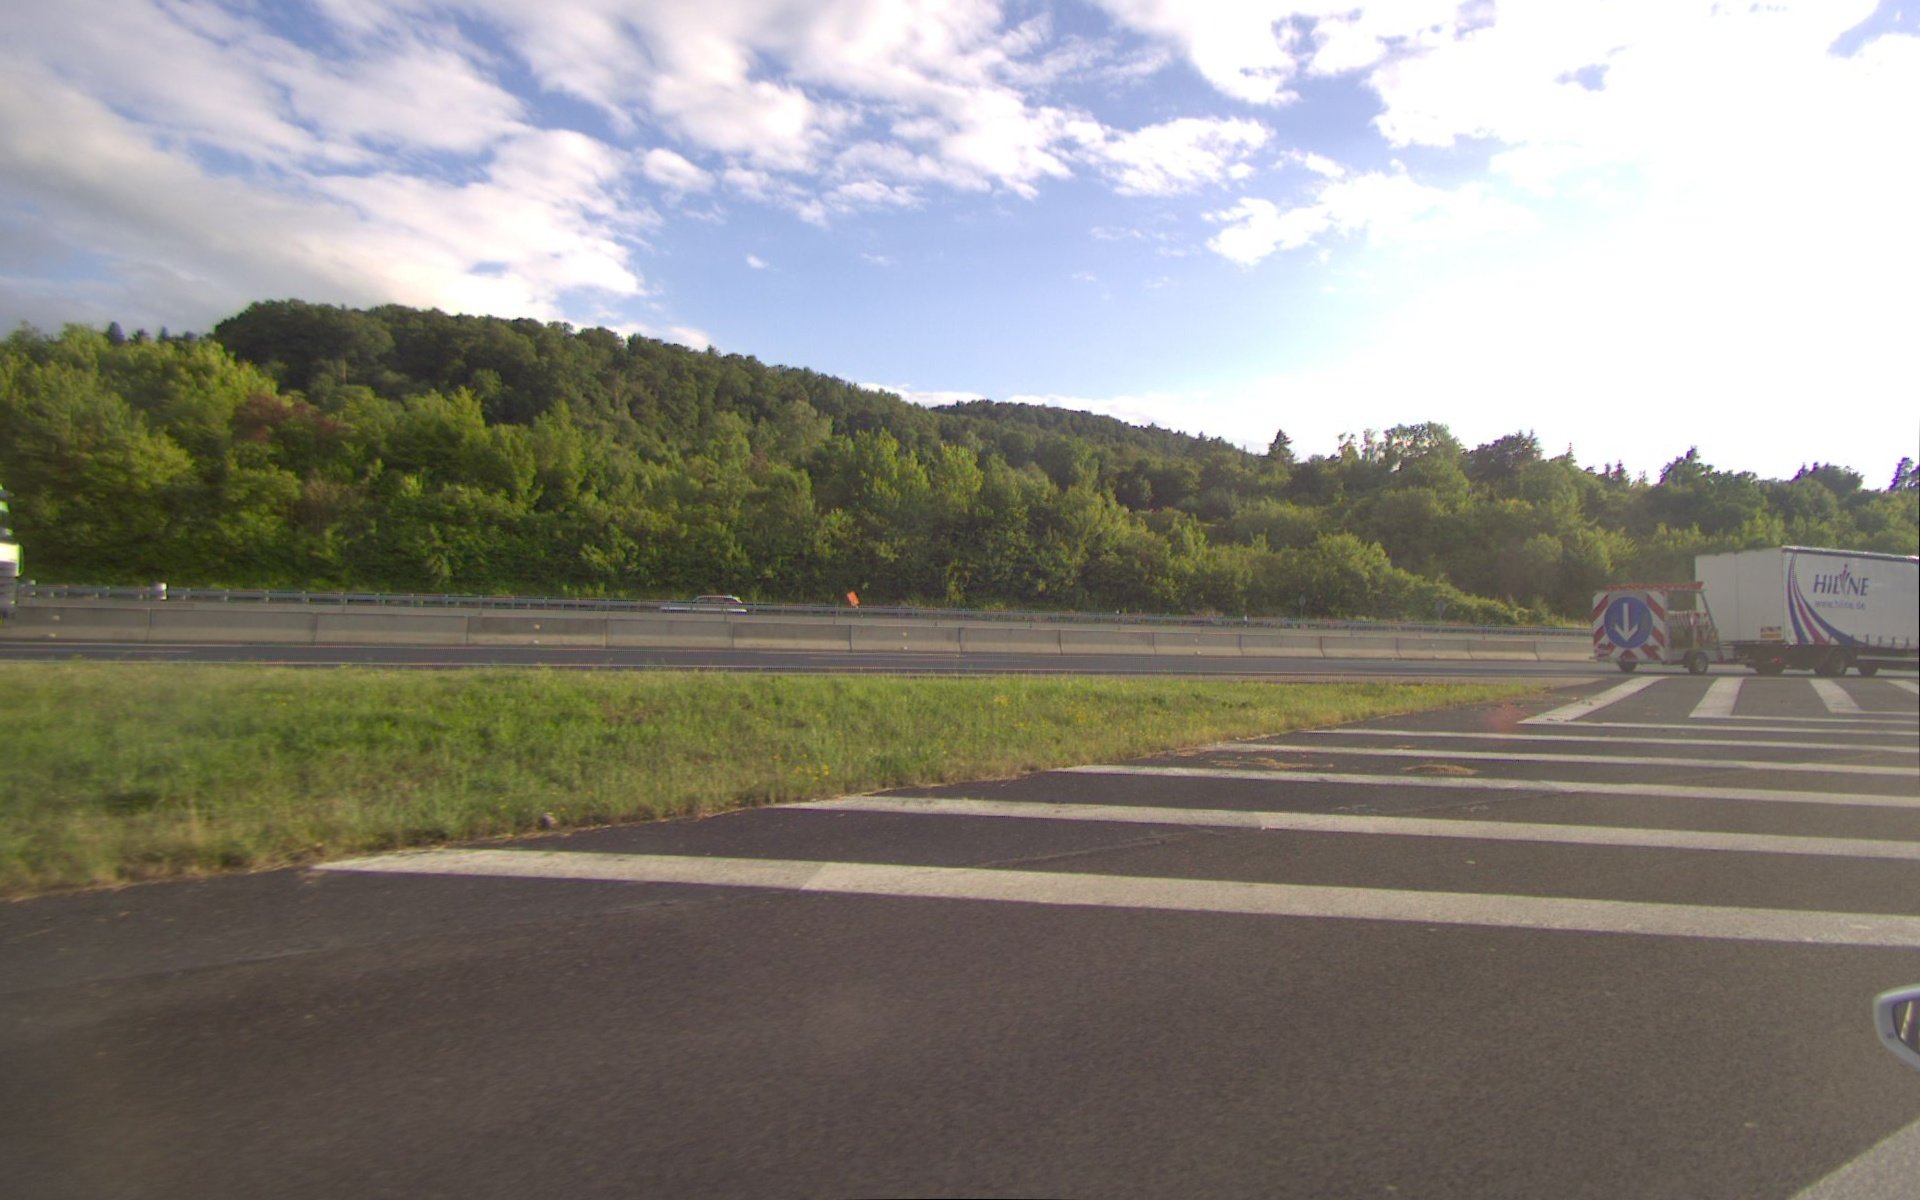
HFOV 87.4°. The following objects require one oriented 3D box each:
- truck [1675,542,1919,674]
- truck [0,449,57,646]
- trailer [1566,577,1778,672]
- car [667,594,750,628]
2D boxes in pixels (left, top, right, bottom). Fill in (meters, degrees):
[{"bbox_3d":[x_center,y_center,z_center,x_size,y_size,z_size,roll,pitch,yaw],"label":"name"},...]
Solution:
[{"bbox_3d":[27.845,0.330,32.296,9.516,3.840,2.917,2,0,-20],"label":"truck"},{"bbox_3d":[-24.452,-1.217,19.454,9.992,4.000,2.767,2,0,-18],"label":"truck"},{"bbox_3d":[21.135,0.721,29.902,4.741,2.612,2.917,2,0,-19],"label":"trailer"},{"bbox_3d":[-12.970,0.563,51.756,3.943,1.600,1.617,2,0,-23],"label":"car"}]
